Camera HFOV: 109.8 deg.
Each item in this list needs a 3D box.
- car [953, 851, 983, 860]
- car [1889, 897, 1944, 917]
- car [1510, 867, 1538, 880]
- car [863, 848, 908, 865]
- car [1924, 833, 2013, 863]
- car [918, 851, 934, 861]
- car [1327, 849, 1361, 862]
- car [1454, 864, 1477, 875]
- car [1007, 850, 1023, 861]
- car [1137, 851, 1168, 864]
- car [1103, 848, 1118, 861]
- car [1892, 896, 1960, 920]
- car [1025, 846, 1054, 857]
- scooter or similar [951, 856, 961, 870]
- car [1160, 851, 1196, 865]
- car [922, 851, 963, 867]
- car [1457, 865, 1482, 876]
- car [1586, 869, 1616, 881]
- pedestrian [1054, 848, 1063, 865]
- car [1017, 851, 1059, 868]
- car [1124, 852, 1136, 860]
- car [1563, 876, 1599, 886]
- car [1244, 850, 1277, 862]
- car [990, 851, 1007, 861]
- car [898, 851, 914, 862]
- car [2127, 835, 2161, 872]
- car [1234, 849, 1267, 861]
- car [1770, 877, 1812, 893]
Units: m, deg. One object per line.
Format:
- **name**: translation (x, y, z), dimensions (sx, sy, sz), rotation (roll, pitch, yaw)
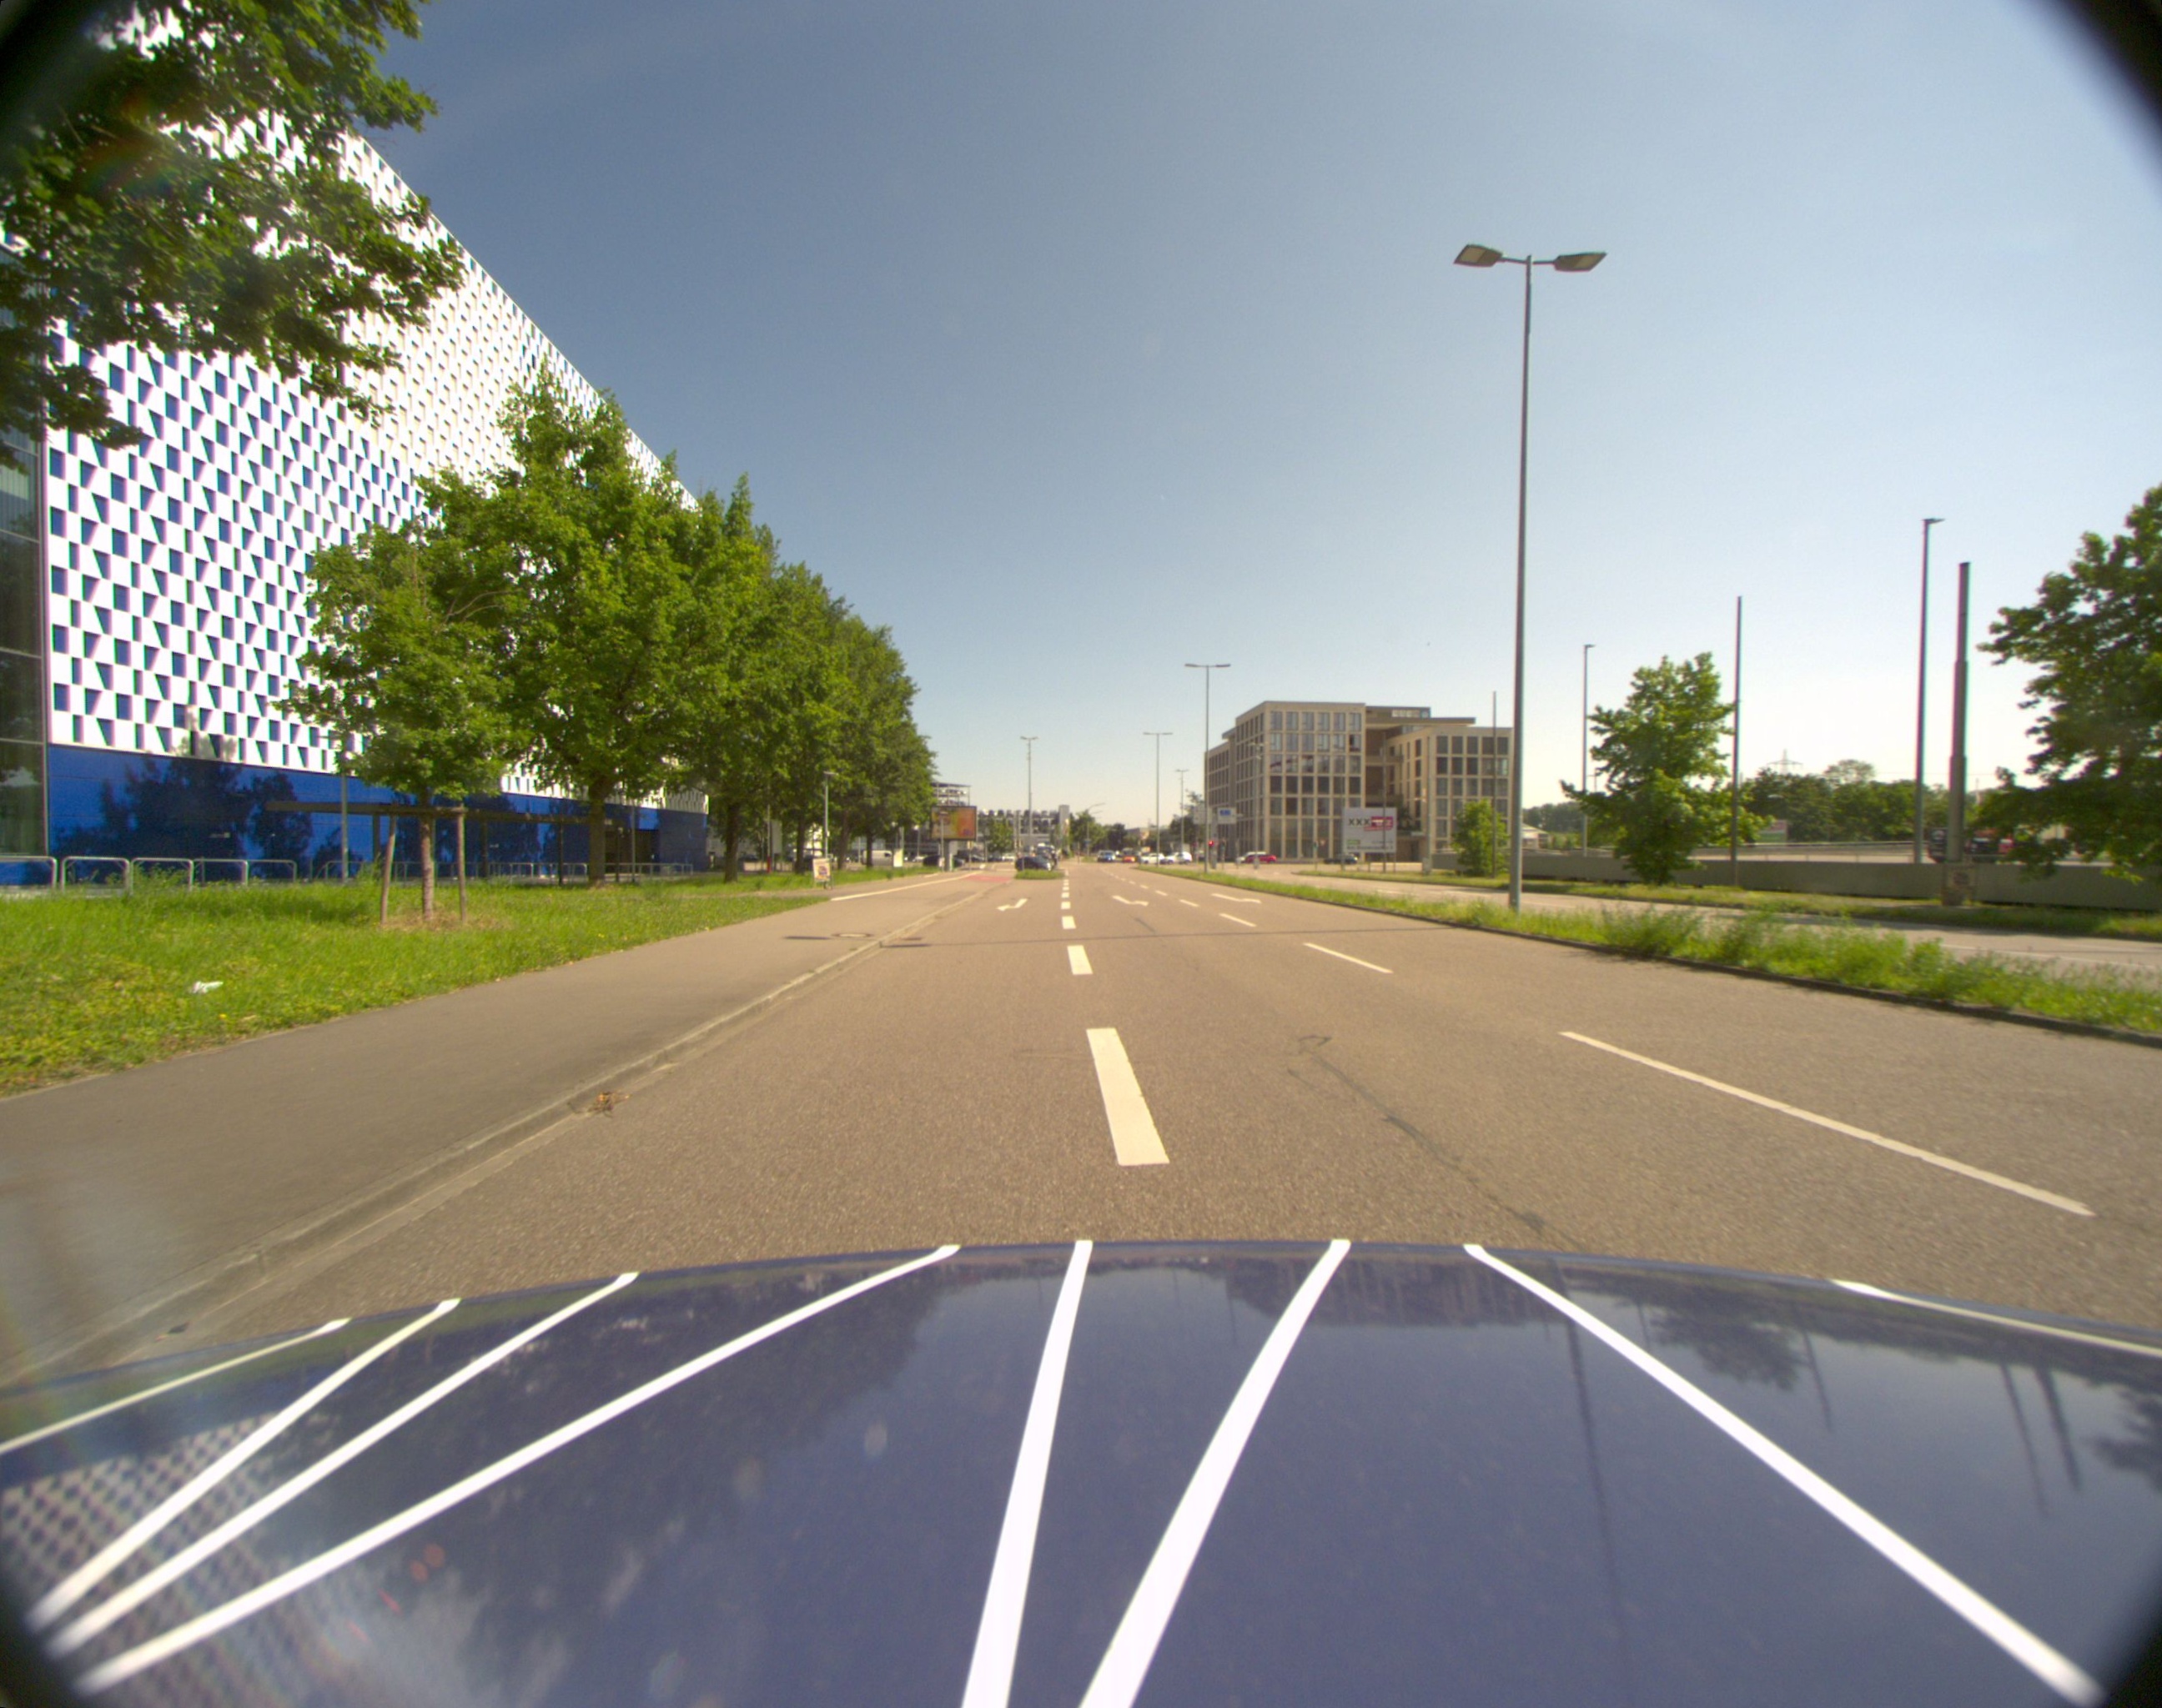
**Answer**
- **car**: translation (-16.934, 0.238, 114.454), dimensions (4.350, 1.342, 1.820), rotation (0, 1, -5)
- **car**: translation (45.837, 2.907, 41.693), dimensions (1.943, 0.970, 1.070), rotation (0, 2, -7)
- **car**: translation (36.578, 1.592, 62.764), dimensions (1.848, 0.970, 0.866), rotation (0, 2, -6)
- **car**: translation (-23.257, 0.279, 90.655), dimensions (4.999, 1.996, 1.739), rotation (0, 2, -5)
- **car**: translation (47.255, -0.289, 40.500), dimensions (2.775, 1.547, 1.773), rotation (0, 0, -4)
- **car**: translation (-23.132, 0.358, 113.307), dimensions (2.005, 1.413, 4.112), rotation (-1, 0, -6)
- **car**: translation (37.208, 0.216, 107.614), dimensions (4.241, 1.878, 1.834), rotation (0, 2, -3)
- **car**: translation (31.686, 1.243, 62.586), dimensions (1.505, 0.877, 0.791), rotation (0, 2, -6)
- **car**: translation (-9.930, 0.207, 114.487), dimensions (1.887, 1.452, 3.999), rotation (0, 1, 2)
- **car**: translation (9.773, 0.490, 103.299), dimensions (3.771, 1.703, 1.830), rotation (-1, 2, -25)
- **car**: translation (4.773, 0.069, 120.928), dimensions (2.184, 1.898, 4.732), rotation (0, 0, 5)
- **car**: translation (37.866, 2.399, 34.055), dimensions (1.943, 0.970, 1.070), rotation (0, 2, -6)
- **car**: translation (-6.458, -0.392, 118.053), dimensions (4.480, 1.578, 1.979), rotation (0, 1, -2)
- **scooter or similar**: translation (-10.416, 0.770, 63.498), dimensions (0.402, 1.160, 1.185), rotation (0, 2, 14)
- **car**: translation (12.876, 0.510, 101.157), dimensions (4.313, 1.827, 2.024), rotation (-1, 2, -13)
- **car**: translation (-15.933, 0.558, 87.786), dimensions (4.502, 1.618, 1.714), rotation (-1, 2, -5)
- **car**: translation (36.226, 1.565, 70.883), dimensions (1.942, 0.969, 0.890), rotation (0, -2, -4)
- **car**: translation (43.050, 1.748, 62.935), dimensions (1.942, 0.970, 0.886), rotation (0, 2, -5)
- **pedestrian**: translation (-2.398, 0.270, 81.317), dimensions (0.705, 1.769, 0.961), rotation (1, 1, 21)
- **car**: translation (-3.992, 0.530, 70.386), dimensions (1.775, 1.456, 4.227), rotation (-2, 1, -37)
- **car**: translation (7.807, 0.310, 120.513), dimensions (1.738, 1.356, 3.867), rotation (0, 0, 5)
- **car**: translation (36.801, 1.985, 55.945), dimensions (2.087, 0.729, 0.906), rotation (0, 2, -6)
- **car**: translation (24.397, 0.262, 103.528), dimensions (4.119, 1.519, 1.530), rotation (0, 1, -6)
- **car**: translation (-12.371, 0.239, 114.173), dimensions (1.998, 1.452, 4.000), rotation (0, 0, 2)
- **car**: translation (-26.101, 0.382, 113.242), dimensions (1.888, 1.537, 3.886), rotation (0, 0, -6)
- **car**: translation (32.943, -0.023, 22.553), dimensions (2.520, 1.053, 1.070), rotation (0, 2, -6)
- **car**: translation (23.895, 0.088, 107.134), dimensions (4.230, 1.701, 1.903), rotation (0, 1, -6)
- **car**: translation (45.358, 1.994, 48.555), dimensions (1.943, 0.970, 0.910), rotation (0, 2, -6)
